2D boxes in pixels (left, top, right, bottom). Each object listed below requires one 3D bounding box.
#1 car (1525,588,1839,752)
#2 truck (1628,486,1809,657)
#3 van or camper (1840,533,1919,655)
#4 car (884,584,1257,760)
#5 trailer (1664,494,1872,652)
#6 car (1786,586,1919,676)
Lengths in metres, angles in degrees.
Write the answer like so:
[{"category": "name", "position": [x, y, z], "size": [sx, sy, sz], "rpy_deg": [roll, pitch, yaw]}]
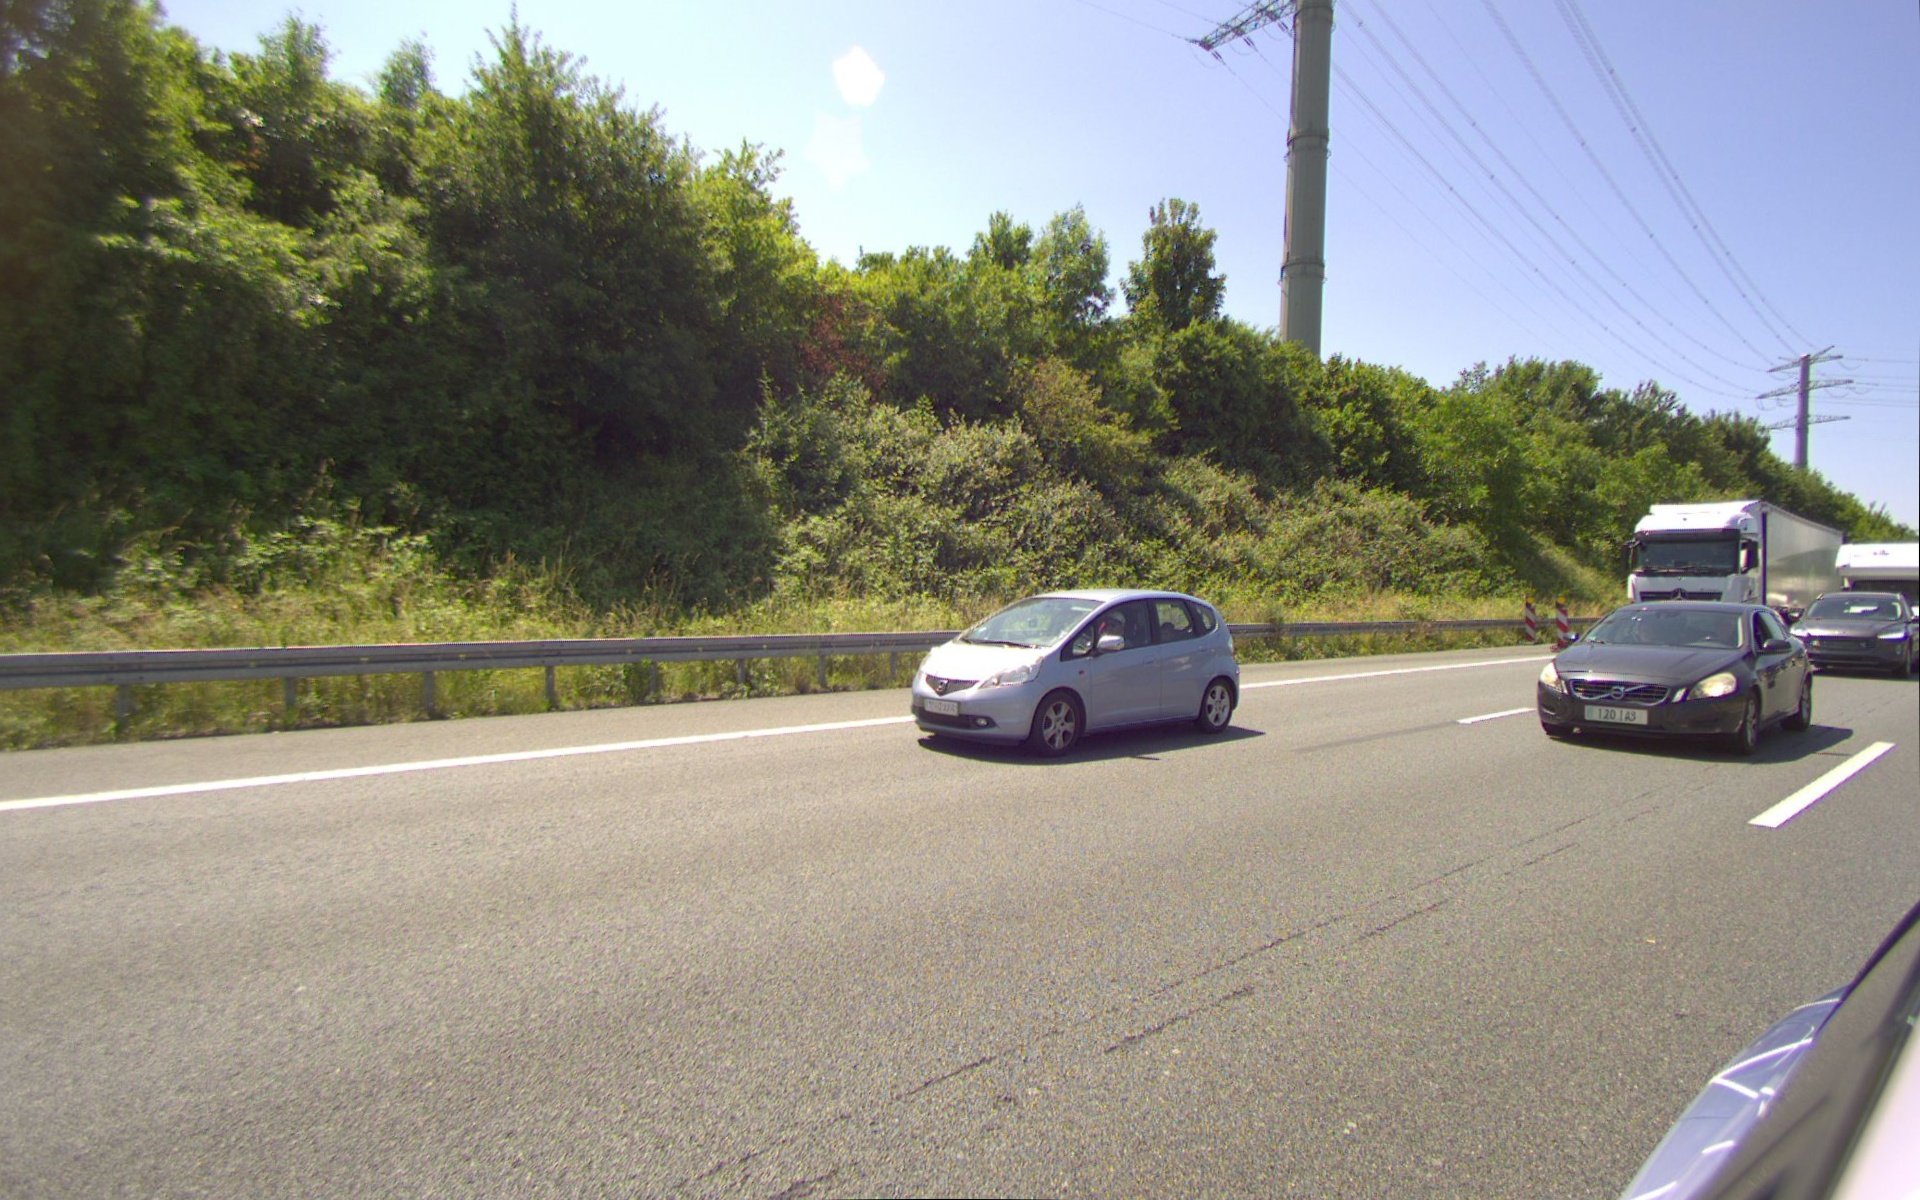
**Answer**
[{"category": "car", "position": [8.005, 0.598, 11.058], "size": [4.431, 1.437, 1.798], "rpy_deg": [-1, 0, -41]}, {"category": "truck", "position": [20.414, -0.708, 27.138], "size": [5.692, 4.098, 2.738], "rpy_deg": [0, 0, -41]}, {"category": "van or camper", "position": [26.740, -0.186, 28.167], "size": [7.499, 3.082, 2.373], "rpy_deg": [-1, 0, -41]}, {"category": "car", "position": [1.226, 0.579, 10.292], "size": [3.721, 1.466, 1.704], "rpy_deg": [-1, 0, -41]}, {"category": "trailer", "position": [25.585, -0.771, 31.646], "size": [12.882, 4.098, 2.788], "rpy_deg": [-1, 0, -41]}, {"category": "car", "position": [18.468, 0.542, 20.591], "size": [4.146, 1.631, 1.892], "rpy_deg": [-1, 0, -41]}]
